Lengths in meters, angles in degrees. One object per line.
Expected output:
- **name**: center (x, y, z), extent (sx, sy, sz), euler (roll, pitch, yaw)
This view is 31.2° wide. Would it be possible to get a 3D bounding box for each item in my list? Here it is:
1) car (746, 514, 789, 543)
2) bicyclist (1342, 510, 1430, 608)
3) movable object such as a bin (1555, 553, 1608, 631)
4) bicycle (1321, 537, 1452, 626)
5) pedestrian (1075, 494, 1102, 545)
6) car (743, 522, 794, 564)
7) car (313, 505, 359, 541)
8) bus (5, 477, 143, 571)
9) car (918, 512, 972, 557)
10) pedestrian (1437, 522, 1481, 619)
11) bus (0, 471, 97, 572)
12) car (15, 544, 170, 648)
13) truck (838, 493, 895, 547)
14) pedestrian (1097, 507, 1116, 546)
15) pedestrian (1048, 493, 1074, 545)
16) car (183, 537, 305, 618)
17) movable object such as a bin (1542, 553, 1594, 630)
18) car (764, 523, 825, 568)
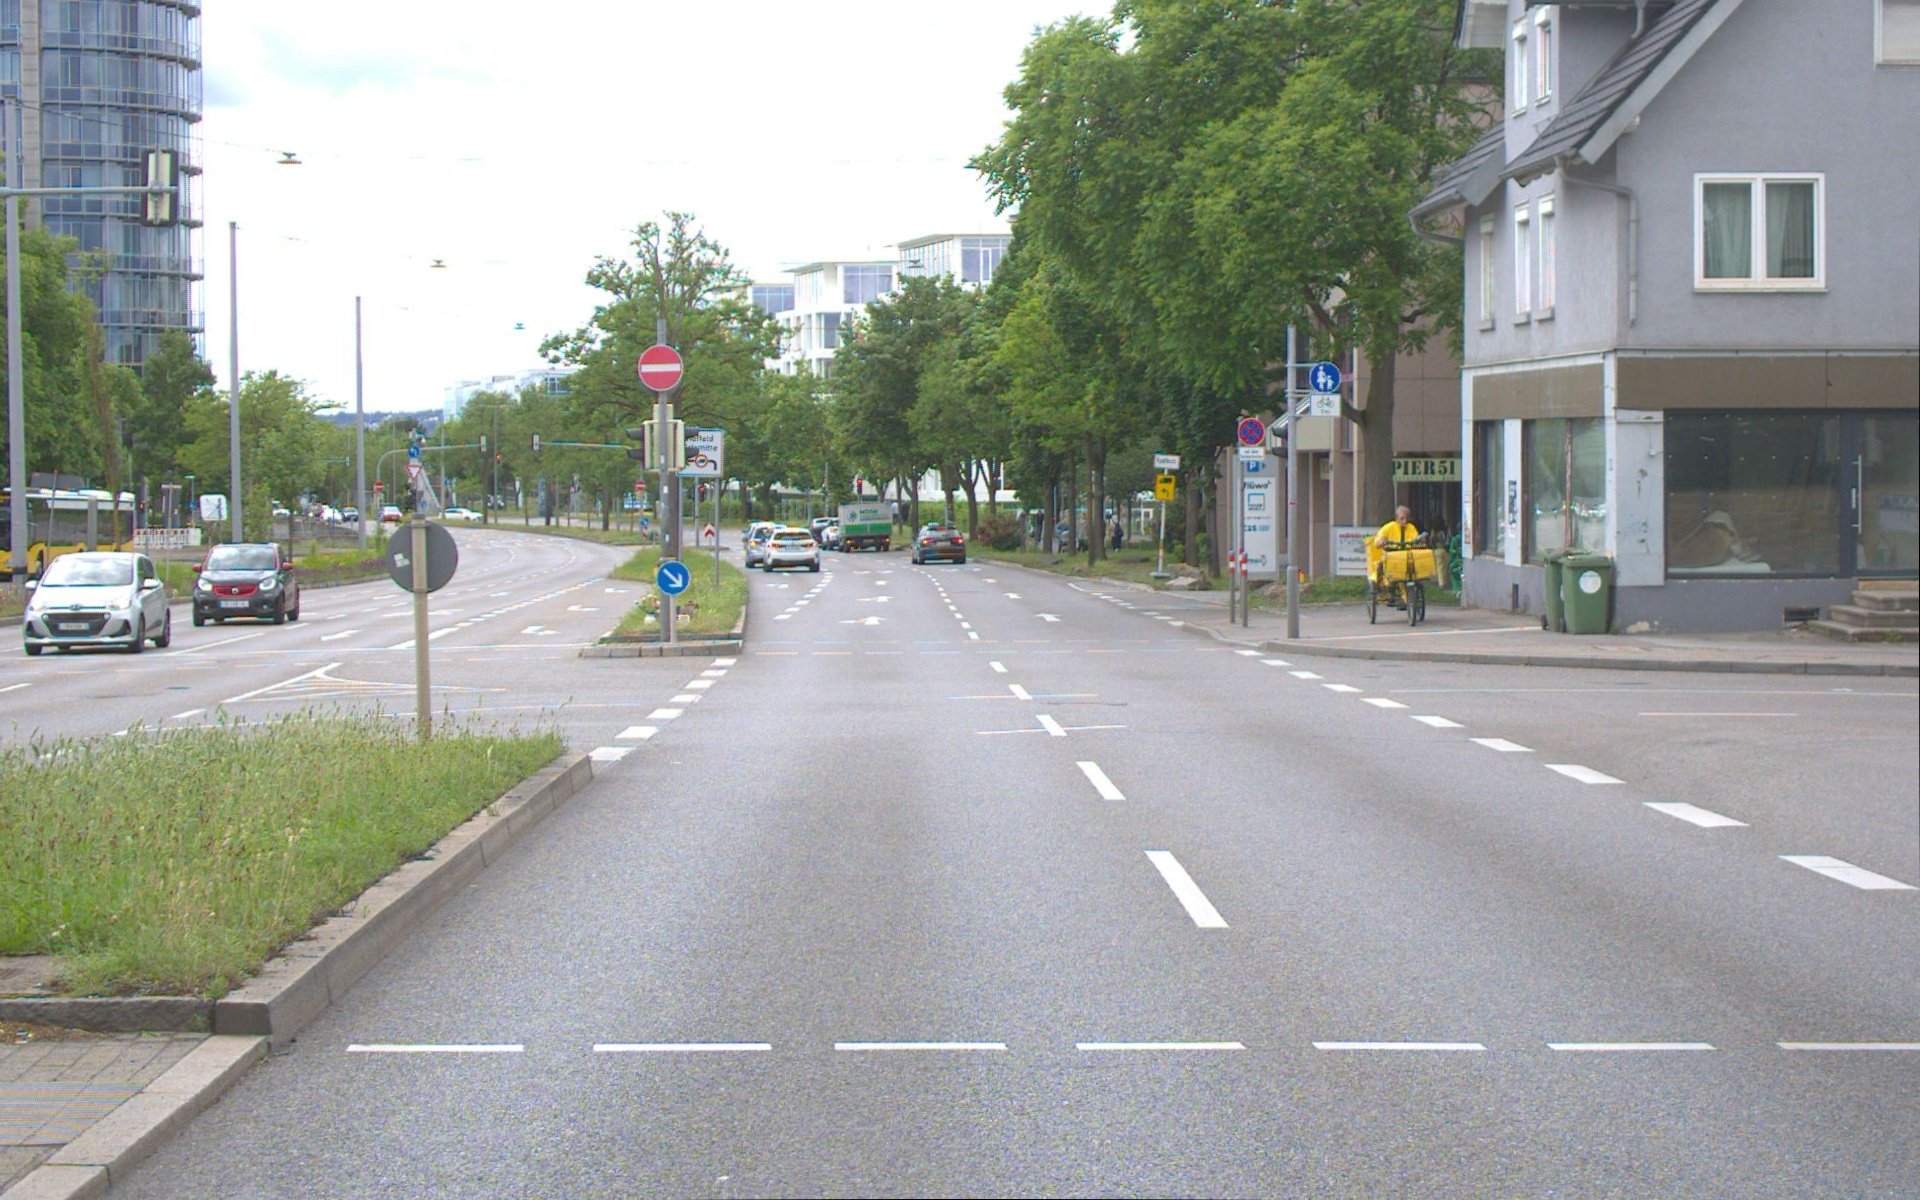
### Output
- **car**: center (-9.698, -3.603, 173.143), extent (1.967, 1.415, 4.023), euler (-1, 1, -5)
- **bicyclist**: center (5.991, -0.577, 48.402), extent (1.074, 1.352, 0.628), euler (-1, 1, -12)
- **movable object such as a bin**: center (7.957, -0.104, 44.041), extent (0.529, 0.976, 0.736), euler (-1, 1, -1)
- **bicycle**: center (5.990, -0.277, 48.464), extent (1.074, 1.213, 2.440), euler (-1, 1, -12)
- **pedestrian**: center (5.055, -3.160, 135.451), extent (0.971, 1.969, 0.981), euler (1, 0, -1)
- **car**: center (-7.041, -2.108, 126.338), extent (1.822, 1.535, 4.115), euler (0, 1, -3)
- **car**: center (-36.341, -4.470, 200.252), extent (1.965, 2.007, 4.000), euler (1, 1, -1)
- **bus**: center (-31.740, -2.712, 123.460), extent (3.144, 3.214, 7.766), euler (-1, 1, -2)
- **car**: center (-0.557, -2.377, 126.045), extent (1.889, 1.489, 4.099), euler (-2, 0, 0)
- **pedestrian**: center (9.644, -0.570, 66.437), extent (0.705, 1.774, 0.870), euler (4, -3, 6)
- **bus**: center (-31.401, -2.570, 114.456), extent (3.144, 3.214, 10.286), euler (-1, 1, -3)
- **car**: center (-12.807, -0.090, 50.916), extent (1.684, 1.457, 3.556), euler (-1, 1, -5)
- **truck**: center (-4.271, -3.652, 156.460), extent (2.251, 2.408, 4.934), euler (0, 1, -5)
- **pedestrian**: center (5.883, -2.943, 138.018), extent (0.650, 1.564, 0.671), euler (-1, 1, -8)
- **pedestrian**: center (3.970, -3.192, 135.306), extent (0.971, 2.007, 0.981), euler (1, 0, -1)
- **car**: center (-13.575, -0.446, 65.332), extent (1.702, 1.487, 3.562), euler (-1, 1, -3)
- **movable object such as a bin**: center (7.929, -0.114, 44.832), extent (0.529, 0.976, 0.736), euler (-1, 1, -1)
- **car**: center (-5.566, -1.831, 115.667), extent (1.993, 1.472, 4.257), euler (-1, 1, -3)
